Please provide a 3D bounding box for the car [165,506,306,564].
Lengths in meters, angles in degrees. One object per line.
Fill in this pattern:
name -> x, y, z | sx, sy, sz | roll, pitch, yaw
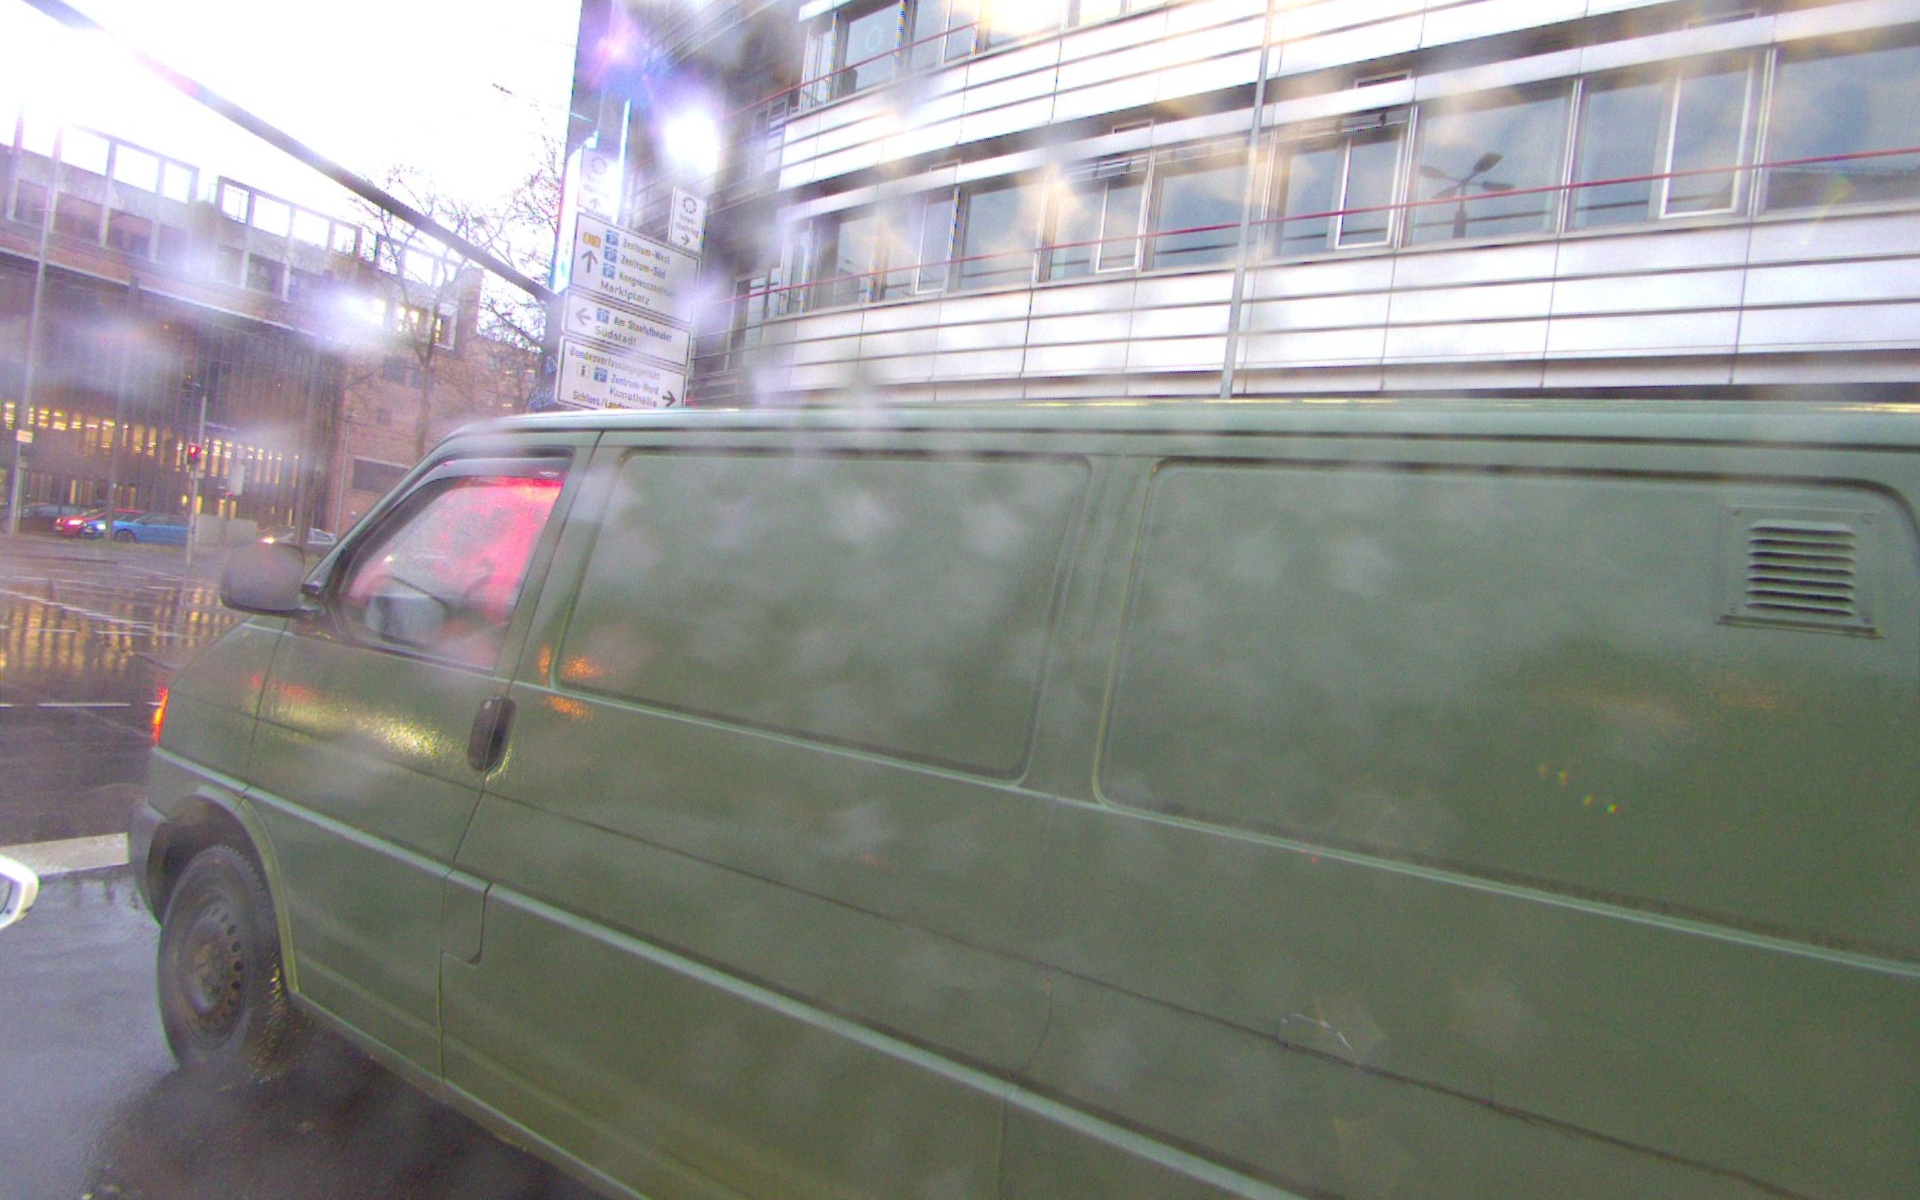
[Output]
car -> -28.305, -2.503, 39.438 | 1.814, 1.523, 3.997 | 11, 1, 26

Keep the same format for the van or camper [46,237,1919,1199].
van or camper -> -0.331, 0.531, 2.624 | 4.345, 1.929, 1.760 | 7, -1, 32

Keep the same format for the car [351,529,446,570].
car -> -30.171, -2.684, 54.128 | 1.814, 1.523, 3.997 | 11, 1, 26

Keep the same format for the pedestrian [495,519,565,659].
pedestrian -> -7.036, -0.173, 16.480 | 0.609, 2.210, 0.576 | 6, 0, 26

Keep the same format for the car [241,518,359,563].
car -> -29.638, -2.649, 45.302 | 1.814, 1.304, 3.997 | 11, 1, 26

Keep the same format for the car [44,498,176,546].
car -> -35.484, -3.243, 42.098 | 1.814, 1.278, 3.729 | 11, 1, 26

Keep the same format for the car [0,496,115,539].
car -> -39.212, -3.558, 43.206 | 1.965, 1.326, 3.994 | 7, 0, 28

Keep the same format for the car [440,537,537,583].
car -> -23.566, -1.967, 50.404 | 1.814, 1.621, 3.997 | 11, 1, 26

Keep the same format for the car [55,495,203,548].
car -> -32.441, -3.028, 39.380 | 1.814, 1.278, 3.997 | 11, 1, 26
